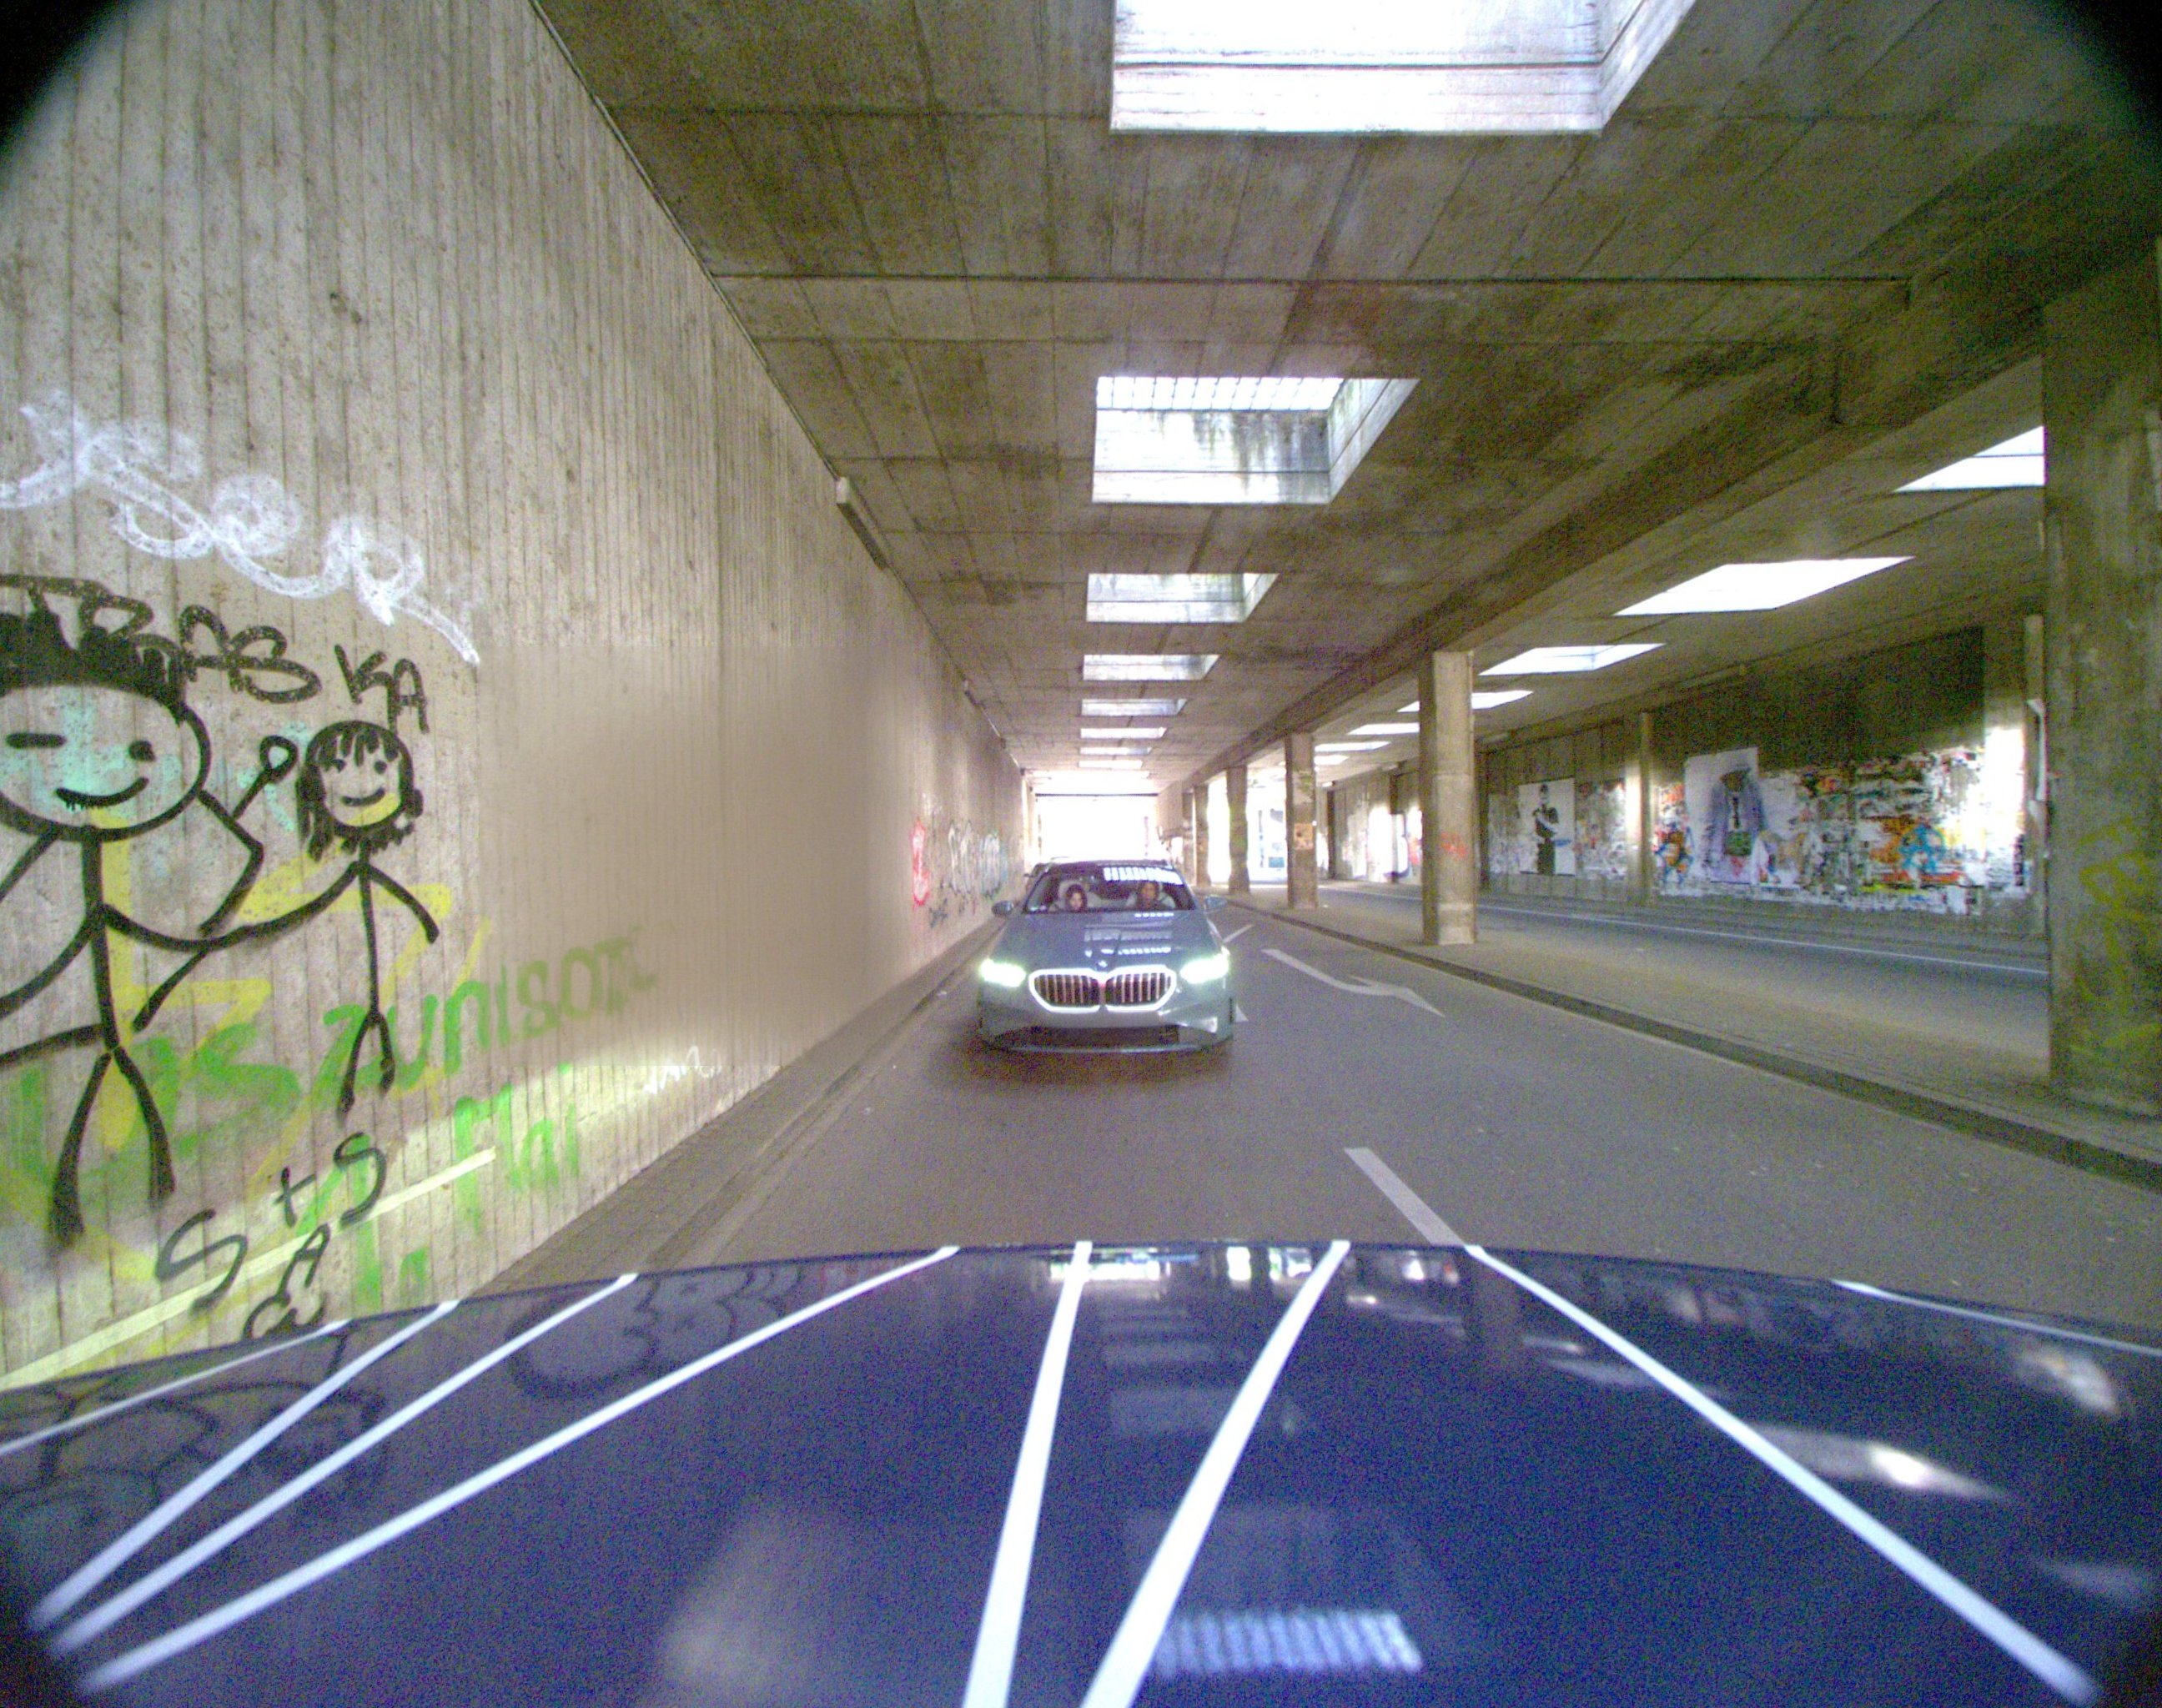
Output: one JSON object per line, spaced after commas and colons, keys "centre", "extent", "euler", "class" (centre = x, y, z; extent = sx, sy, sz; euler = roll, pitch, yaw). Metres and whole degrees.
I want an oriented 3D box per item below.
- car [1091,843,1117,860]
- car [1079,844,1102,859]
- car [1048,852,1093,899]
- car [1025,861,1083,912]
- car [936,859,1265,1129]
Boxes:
{"centre": [2.900, -0.323, 97.492], "extent": [2.361, 2.002, 5.146], "euler": [-1, 0, -8], "class": "car"}
{"centre": [1.248, -0.329, 103.505], "extent": [2.361, 2.002, 5.146], "euler": [-1, 0, -8], "class": "car"}
{"centre": [-0.347, 0.774, 29.861], "extent": [1.581, 1.676, 4.078], "euler": [-2, 0, 1], "class": "car"}
{"centre": [-0.772, 0.955, 23.855], "extent": [1.593, 1.387, 3.833], "euler": [-2, 0, 1], "class": "car"}
{"centre": [0.199, 0.888, 7.280], "extent": [1.998, 1.594, 5.176], "euler": [-1, 0, 2], "class": "car"}
